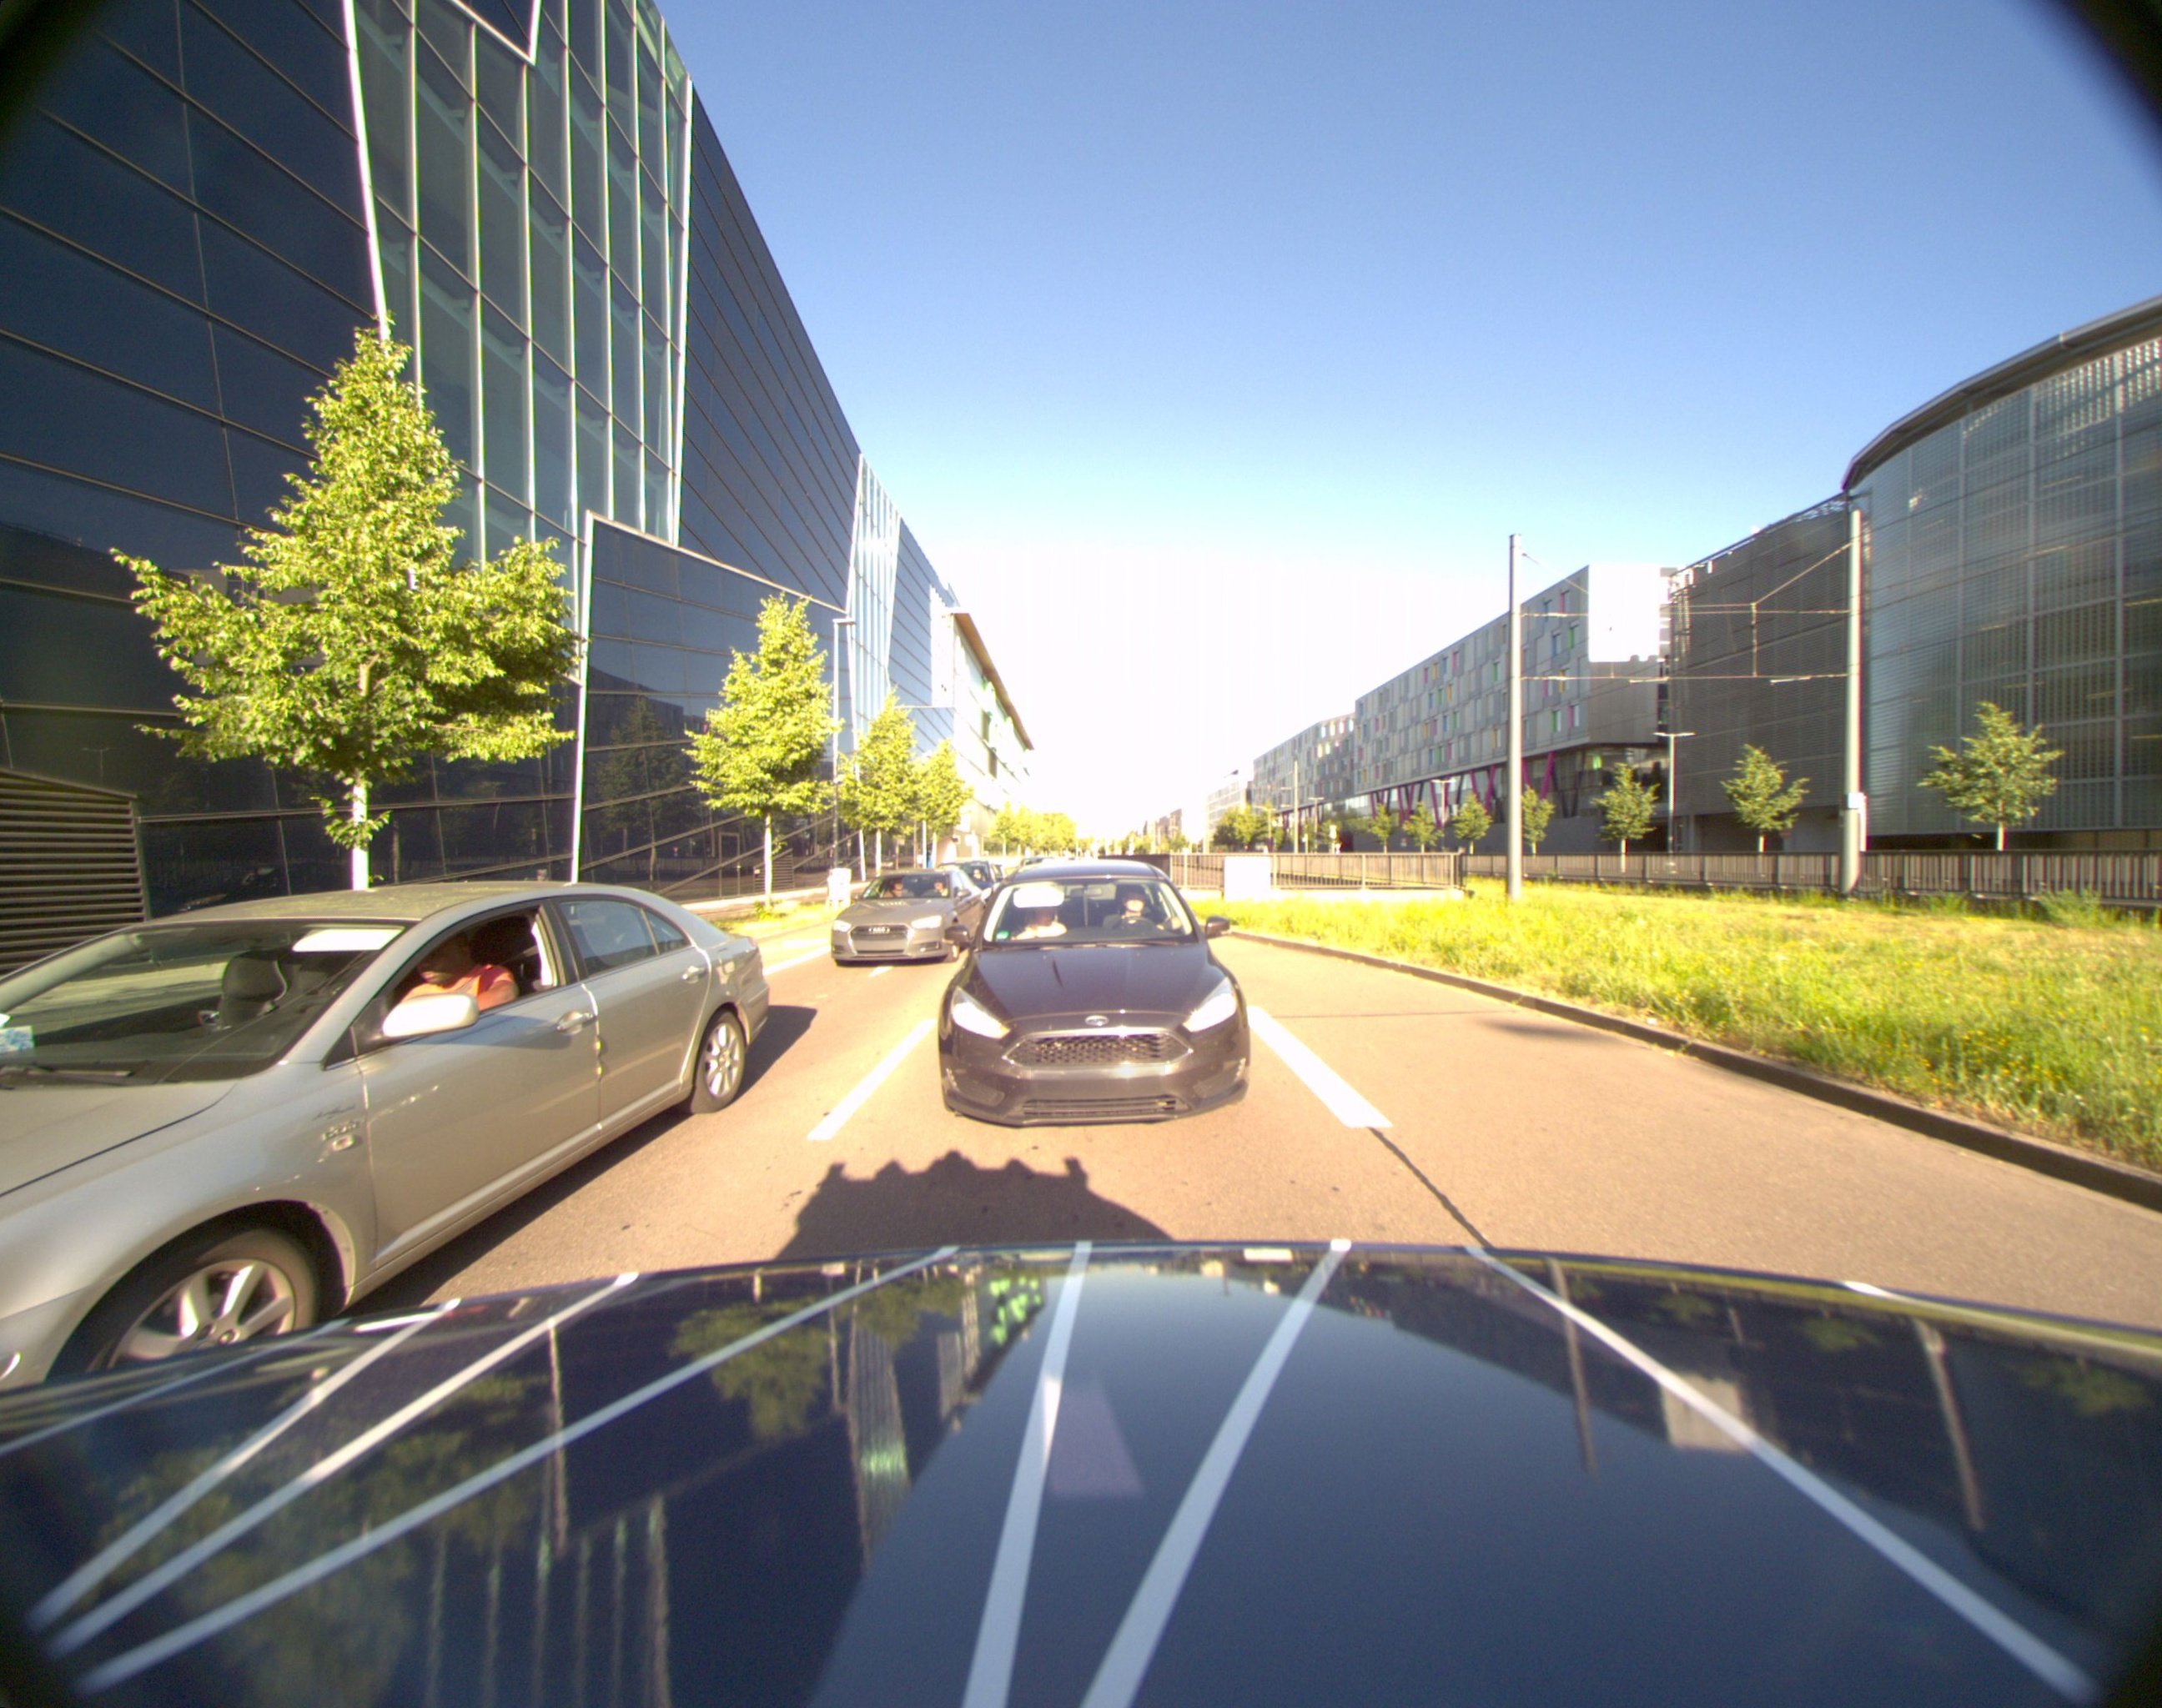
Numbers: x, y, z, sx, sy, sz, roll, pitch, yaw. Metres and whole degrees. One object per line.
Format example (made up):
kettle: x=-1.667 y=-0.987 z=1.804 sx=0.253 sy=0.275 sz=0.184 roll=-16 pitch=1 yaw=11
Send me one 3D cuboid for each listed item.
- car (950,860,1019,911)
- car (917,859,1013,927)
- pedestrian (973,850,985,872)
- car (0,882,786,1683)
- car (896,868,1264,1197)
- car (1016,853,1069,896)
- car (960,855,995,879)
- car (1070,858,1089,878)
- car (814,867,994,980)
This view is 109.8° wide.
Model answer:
car: x=-3.046 y=0.964 z=24.559 sx=1.753 sy=1.469 sz=3.417 roll=-2 pitch=0 yaw=0
car: x=-2.805 y=0.893 z=19.163 sx=1.753 sy=1.469 sz=3.971 roll=-2 pitch=0 yaw=0
pedestrian: x=-8.670 y=0.625 z=64.656 sx=0.828 sy=1.814 sz=0.905 roll=3 pitch=1 yaw=0
car: x=-3.090 y=0.977 z=3.235 sx=1.750 sy=1.473 sz=4.628 roll=-1 pitch=1 yaw=1
car: x=0.011 y=0.930 z=6.068 sx=1.787 sy=1.499 sz=4.589 roll=-2 pitch=0 yaw=0
car: x=-1.498 y=0.777 z=30.838 sx=1.907 sy=1.612 sz=3.999 roll=0 pitch=1 yaw=1
car: x=-7.071 y=0.848 z=52.202 sx=1.740 sy=1.489 sz=4.715 roll=1 pitch=0 yaw=0
car: x=-0.127 y=1.545 z=85.986 sx=1.998 sy=2.002 sz=3.999 roll=-2 pitch=1 yaw=0
car: x=-2.653 y=0.985 z=12.443 sx=1.750 sy=1.384 sz=4.264 roll=-2 pitch=1 yaw=2
